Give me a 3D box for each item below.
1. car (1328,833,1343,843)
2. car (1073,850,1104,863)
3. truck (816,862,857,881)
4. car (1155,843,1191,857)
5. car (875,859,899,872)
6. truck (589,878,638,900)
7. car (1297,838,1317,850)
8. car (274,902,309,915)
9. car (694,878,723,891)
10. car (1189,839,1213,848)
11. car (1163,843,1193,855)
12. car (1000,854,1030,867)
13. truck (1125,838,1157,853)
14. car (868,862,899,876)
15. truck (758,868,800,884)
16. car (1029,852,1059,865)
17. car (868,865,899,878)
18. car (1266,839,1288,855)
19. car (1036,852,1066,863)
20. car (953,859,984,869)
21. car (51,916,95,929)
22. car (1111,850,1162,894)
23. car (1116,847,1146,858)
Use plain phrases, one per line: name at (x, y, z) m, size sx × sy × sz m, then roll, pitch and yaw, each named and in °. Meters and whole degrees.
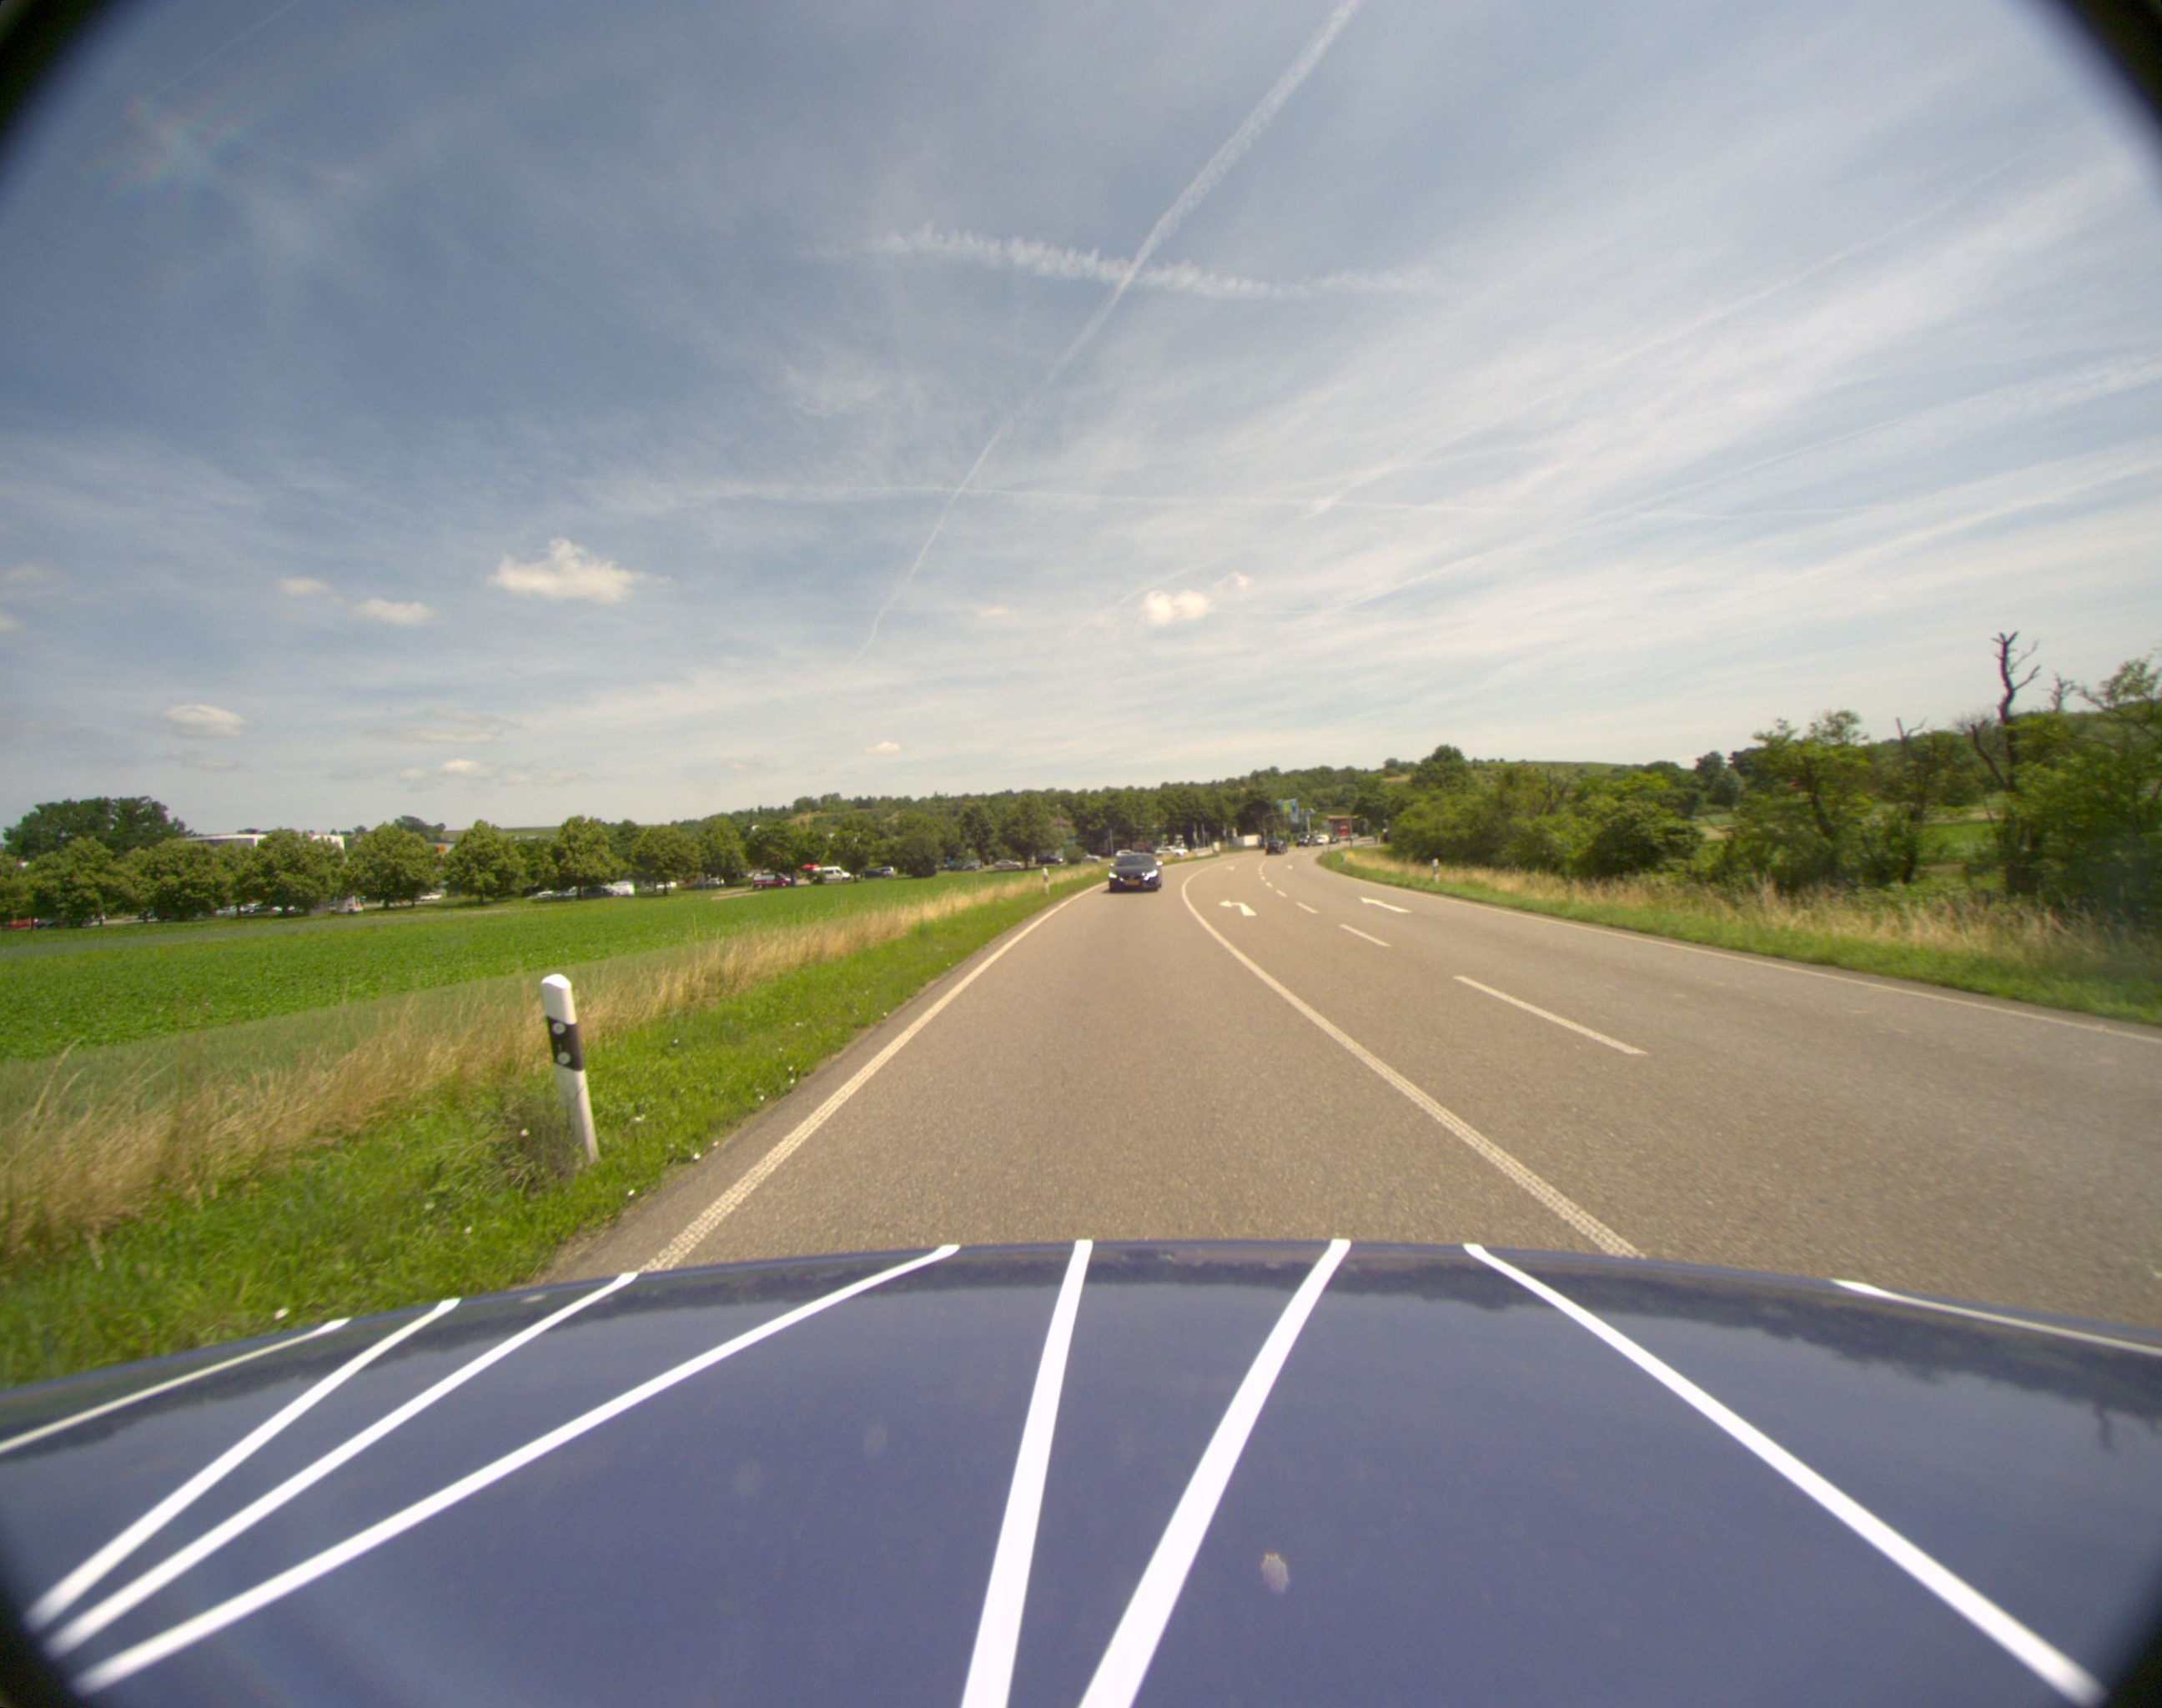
car at (47.500, -3.022, 141.812) m, size 1.806 × 1.722 × 4.007 m, roll -3°, pitch 1°, yaw 31°
car at (1.173, 0.365, 117.473) m, size 4.555 × 1.502 × 1.801 m, roll -4°, pitch 2°, yaw 11°
truck at (-37.750, 2.748, 117.527) m, size 5.638 × 2.353 × 2.051 m, roll -5°, pitch 2°, yaw -10°
car at (13.145, -0.614, 108.919) m, size 4.630 × 1.599 × 2.001 m, roll -4°, pitch 3°, yaw 31°
car at (-34.092, 1.990, 133.529) m, size 4.002 × 1.814 × 1.820 m, roll -5°, pitch 2°, yaw -17°
truck at (-72.625, 5.444, 118.185) m, size 5.941 × 2.723 × 2.071 m, roll -4°, pitch 4°, yaw -5°
car at (37.854, -1.727, 127.188) m, size 1.806 × 1.723 × 4.006 m, roll -3°, pitch 3°, yaw 36°
car at (-136.150, 9.406, 130.998) m, size 3.998 × 1.620 × 1.742 m, roll -4°, pitch 2°, yaw -2°
car at (-65.698, 5.344, 134.053) m, size 3.998 × 1.814 × 1.822 m, roll -4°, pitch 2°, yaw -2°
car at (24.595, -2.151, 155.758) m, size 4.636 × 1.613 × 1.995 m, roll -5°, pitch 3°, yaw -32°
car at (14.406, -0.728, 112.980) m, size 3.962 × 1.411 × 1.831 m, roll -4°, pitch 1°, yaw 32°
car at (-10.314, 0.992, 118.924) m, size 4.558 × 1.502 × 1.800 m, roll -4°, pitch 2°, yaw 0°
truck at (12.019, -1.678, 152.139) m, size 6.157 × 2.603 × 2.257 m, roll -5°, pitch 2°, yaw -33°
car at (-30.850, 2.367, 118.729) m, size 4.289 × 1.688 × 1.999 m, roll -4°, pitch 2°, yaw -4°
truck at (-46.049, 3.374, 115.851) m, size 5.475 × 1.965 × 1.799 m, roll -5°, pitch 2°, yaw -9°
car at (-6.060, 0.749, 124.473) m, size 4.521 × 1.683 × 1.867 m, roll -4°, pitch 2°, yaw 5°
car at (-31.596, 2.782, 121.561) m, size 4.526 × 1.683 × 1.865 m, roll -4°, pitch 2°, yaw -8°
car at (23.358, -0.811, 90.440) m, size 1.772 × 1.649 × 4.005 m, roll -2°, pitch 2°, yaw 25°
car at (-4.679, 0.566, 119.205) m, size 4.557 × 1.501 × 1.801 m, roll -3°, pitch 0°, yaw 5°
car at (-17.654, 1.559, 119.276) m, size 4.560 × 1.266 × 1.799 m, roll -5°, pitch 2°, yaw -4°
car at (-172.580, 11.749, 130.090) m, size 4.810 × 1.582 × 1.871 m, roll -4°, pitch 2°, yaw -2°
car at (2.170, 0.630, 28.848) m, size 1.782 × 1.484 × 4.159 m, roll -1°, pitch 1°, yaw 6°
car at (7.587, -0.202, 115.341) m, size 4.097 × 1.411 × 1.802 m, roll -3°, pitch 3°, yaw 18°
